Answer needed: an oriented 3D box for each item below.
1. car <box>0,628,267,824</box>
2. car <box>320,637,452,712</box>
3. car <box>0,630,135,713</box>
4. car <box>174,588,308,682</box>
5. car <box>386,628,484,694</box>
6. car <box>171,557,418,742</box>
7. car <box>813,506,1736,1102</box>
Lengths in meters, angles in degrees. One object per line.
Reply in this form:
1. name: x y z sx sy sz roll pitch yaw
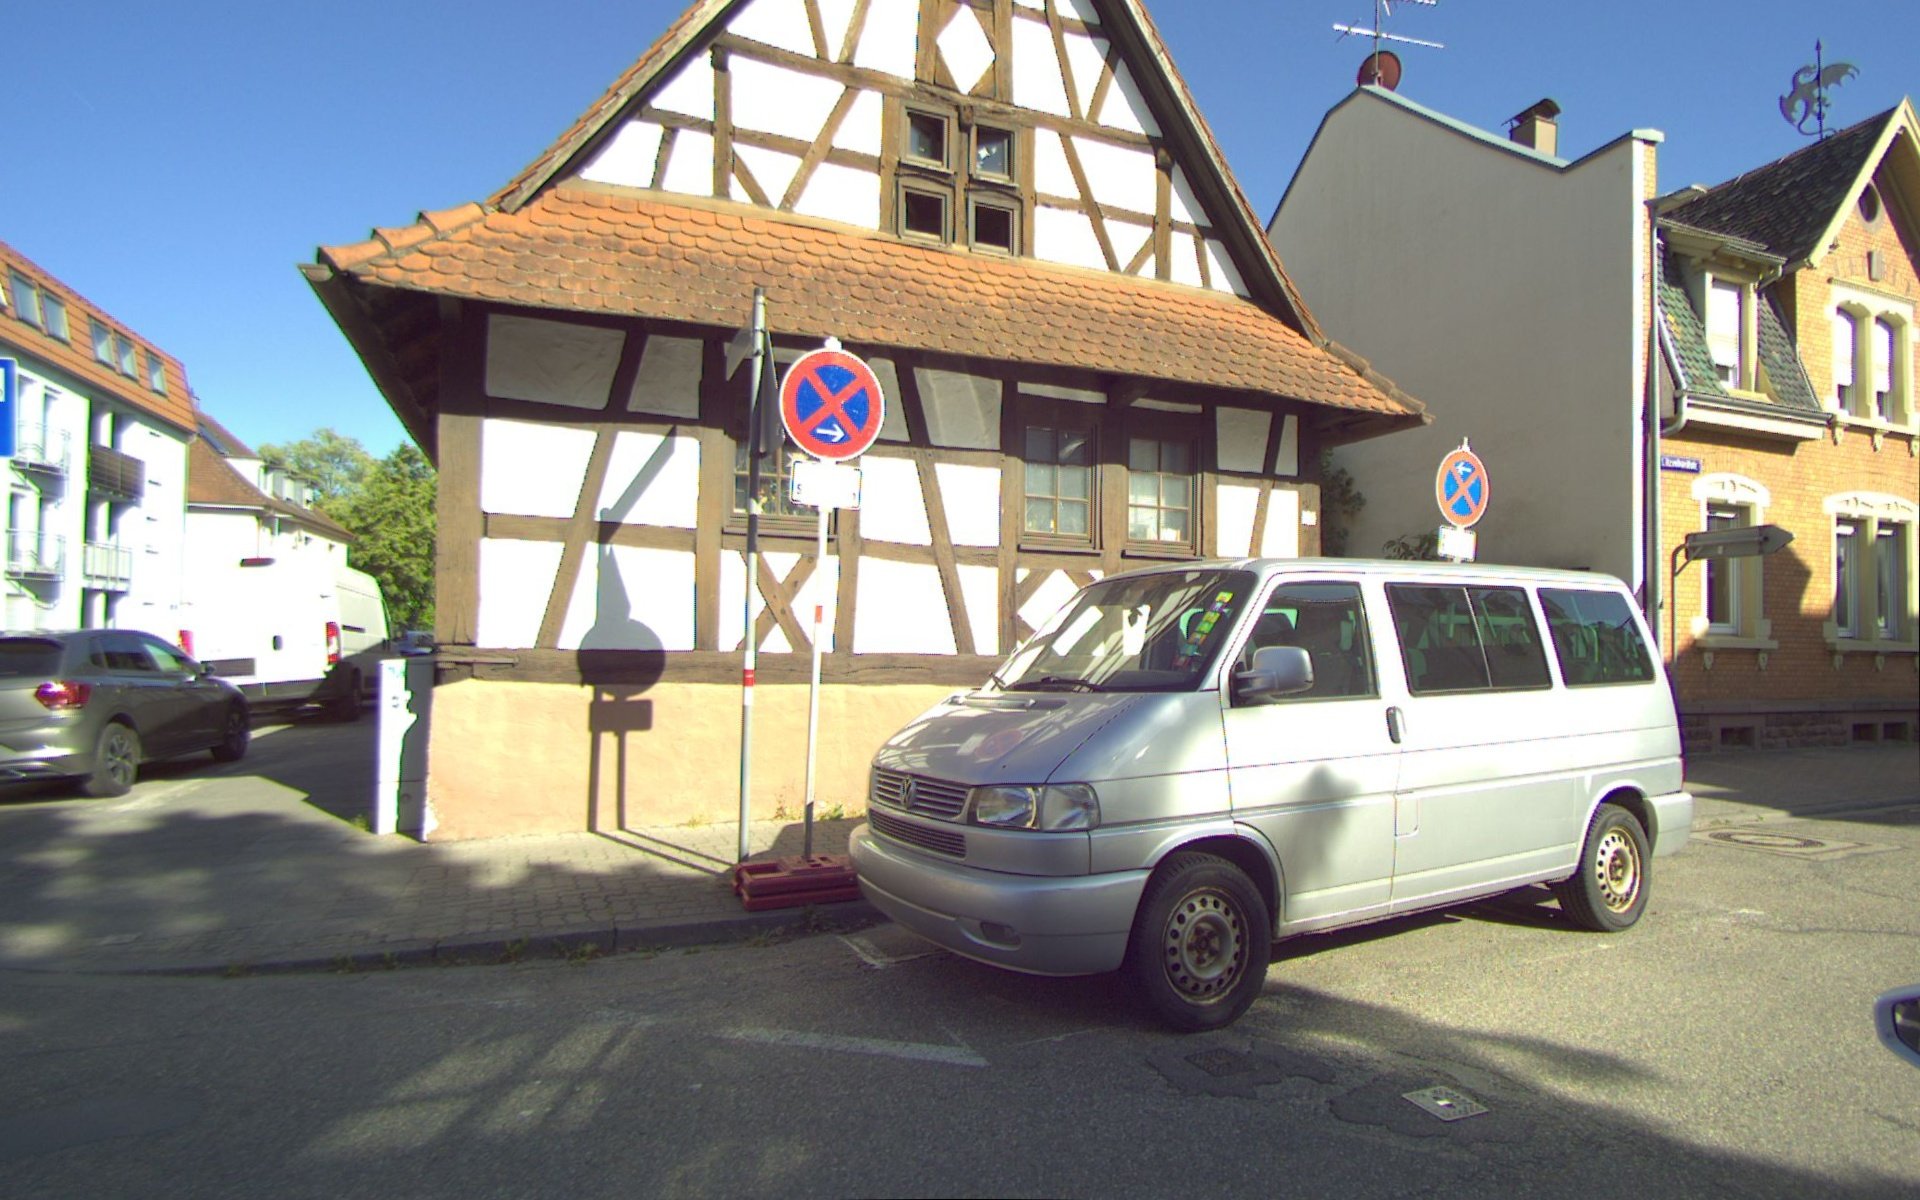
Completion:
1. car: -8.263 1.078 9.448 1.829 1.466 3.916 -2 -2 -19
2. car: -12.859 1.633 22.736 1.829 1.466 3.916 -2 -2 -19
3. car: -19.016 1.415 20.638 1.863 1.511 4.808 5 -5 -24
4. car: -22.501 1.179 31.686 2.087 2.635 4.812 5 -5 -22
5. car: -14.788 1.700 28.478 1.829 1.643 3.916 -2 -2 -19
6. car: -11.069 0.799 17.240 2.141 2.600 5.444 -2 -2 -19
7. car: 1.816 0.772 5.256 4.779 1.905 1.867 2 -4 -30
